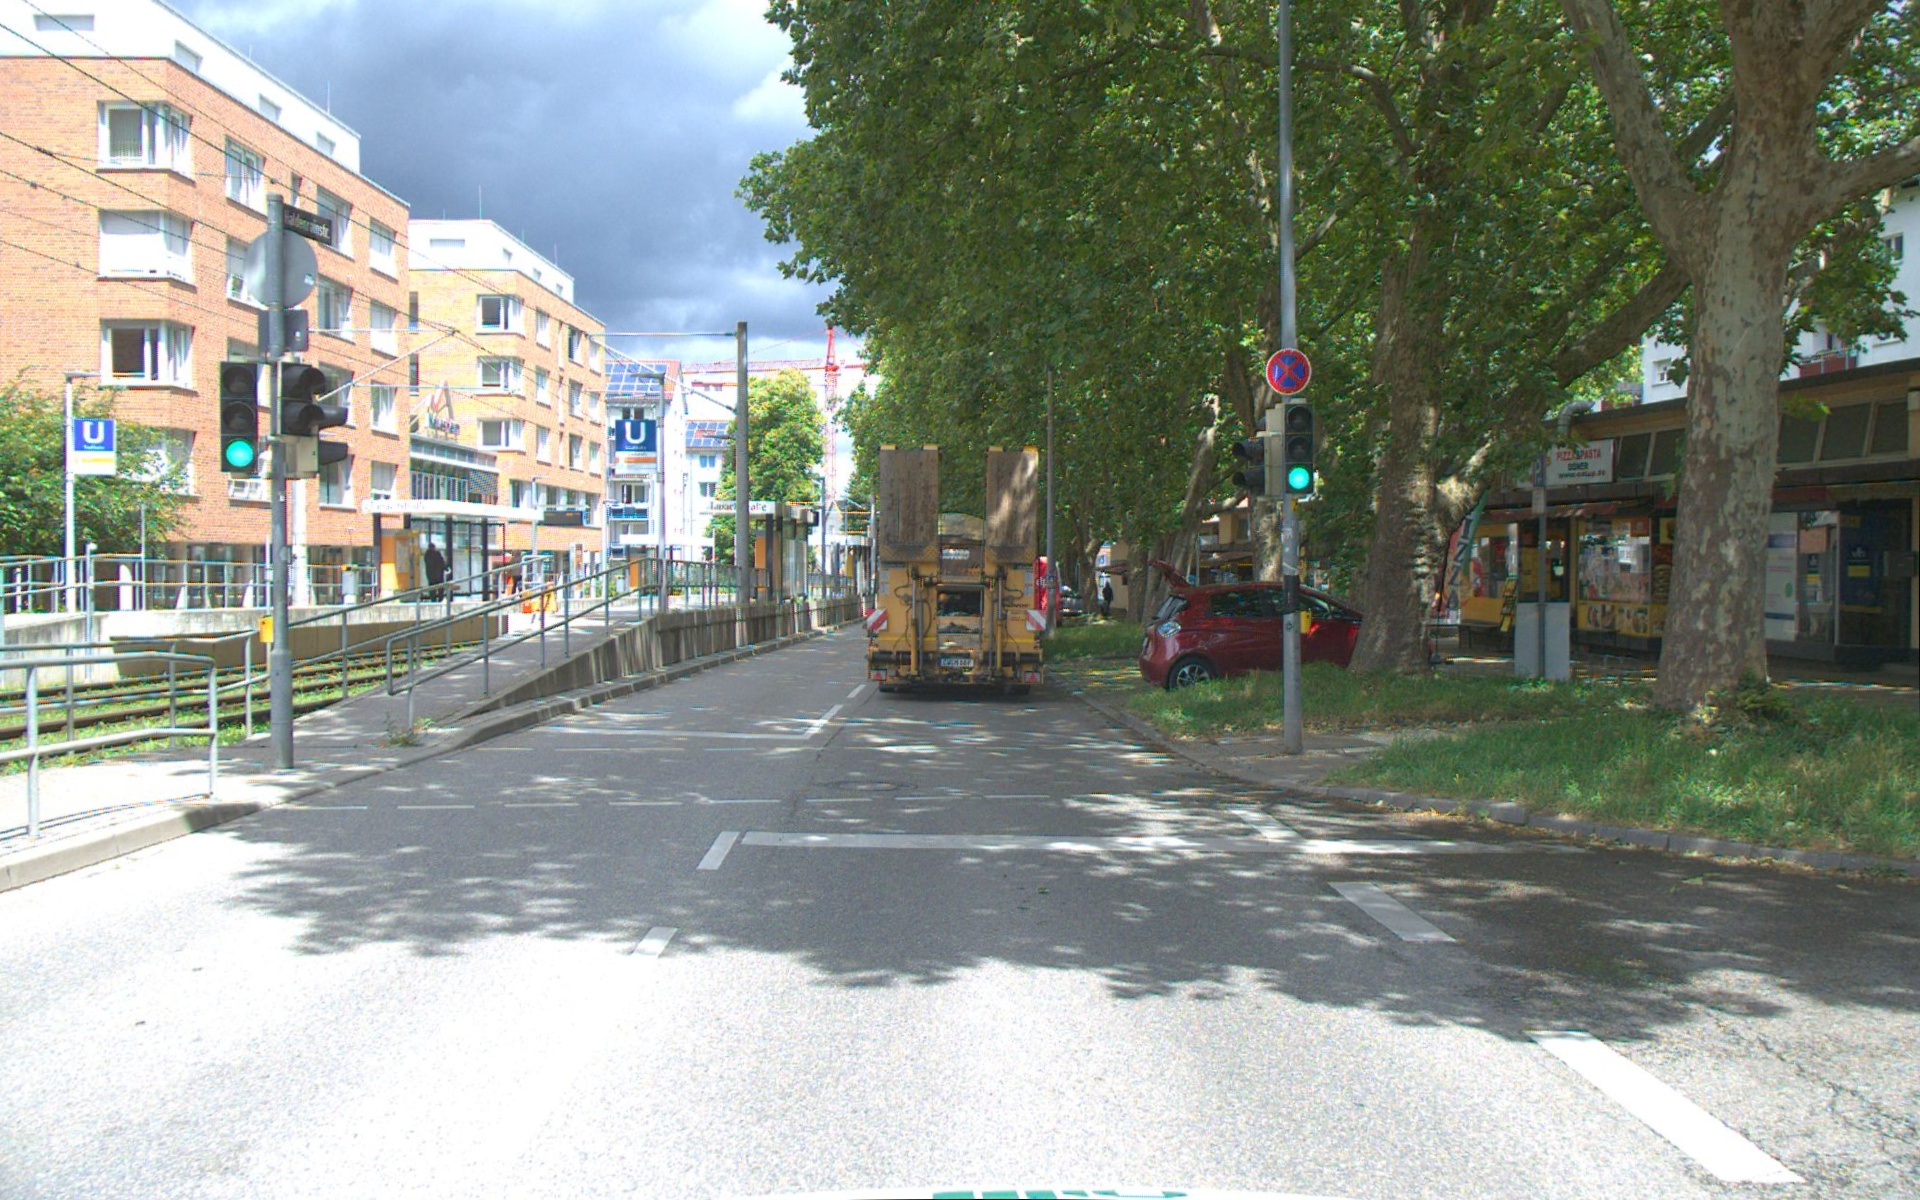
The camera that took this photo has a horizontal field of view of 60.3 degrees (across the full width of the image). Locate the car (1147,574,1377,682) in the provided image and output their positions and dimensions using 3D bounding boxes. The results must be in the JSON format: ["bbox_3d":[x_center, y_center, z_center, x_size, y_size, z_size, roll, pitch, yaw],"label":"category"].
[{"bbox_3d":[4.877,0.439,26.952,3.340,1.541,1.609,-3,0,-4],"label":"car"}]

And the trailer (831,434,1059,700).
[{"bbox_3d":[-0.230,-0.498,28.475,3.090,3.614,11.096,1,0,0],"label":"trailer"}]

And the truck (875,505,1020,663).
[{"bbox_3d":[-0.294,-0.353,38.013,2.928,3.189,7.887,1,0,-1],"label":"truck"}]

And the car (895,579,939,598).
[{"bbox_3d":[-5.274,-1.365,200.796,5.003,2.139,1.969,2,0,-14],"label":"car"}]

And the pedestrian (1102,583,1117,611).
[{"bbox_3d":[7.684,-0.153,85.213,0.681,1.416,0.512,0,0,-4],"label":"pedestrian"}]

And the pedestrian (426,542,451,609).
[{"bbox_3d":[-14.119,-0.660,44.797,0.523,1.794,0.528,0,0,-3],"label":"pedestrian"}]

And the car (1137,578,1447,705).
[{"bbox_3d":[4.448,0.542,22.606,3.945,1.639,1.731,0,0,2],"label":"car"}]

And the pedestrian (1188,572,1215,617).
[{"bbox_3d":[9.884,-0.222,67.661,0.910,1.832,0.602,-1,-1,45],"label":"pedestrian"}]

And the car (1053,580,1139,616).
[{"bbox_3d":[6.298,-0.097,76.771,3.756,1.589,1.617,-1,0,-7],"label":"car"}]

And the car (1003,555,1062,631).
[{"bbox_3d":[2.629,-0.272,61.095,1.865,2.626,6.834,-1,0,0],"label":"car"}]

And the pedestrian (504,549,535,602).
[{"bbox_3d":[-13.909,-0.762,52.214,0.736,1.657,0.816,1,0,0],"label":"pedestrian"}]
